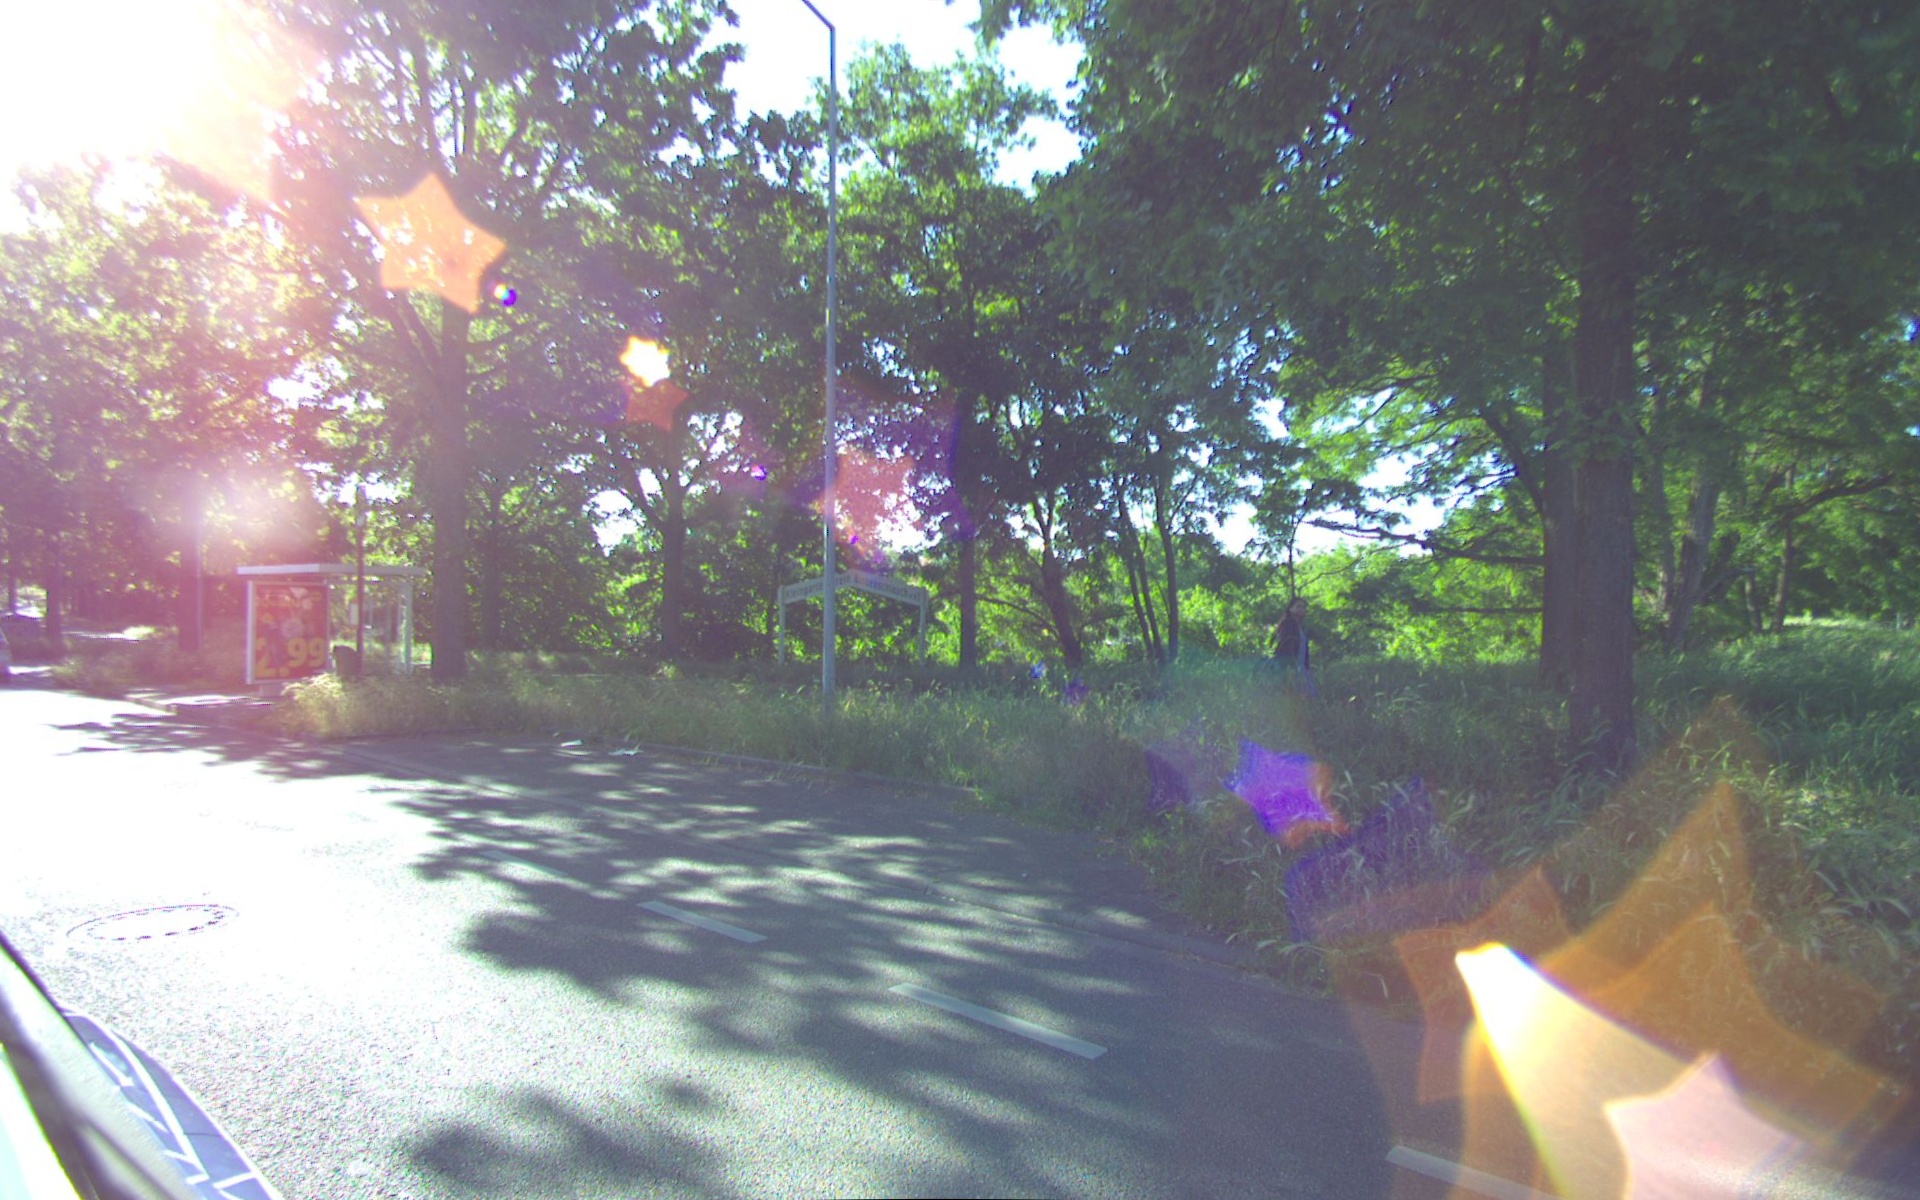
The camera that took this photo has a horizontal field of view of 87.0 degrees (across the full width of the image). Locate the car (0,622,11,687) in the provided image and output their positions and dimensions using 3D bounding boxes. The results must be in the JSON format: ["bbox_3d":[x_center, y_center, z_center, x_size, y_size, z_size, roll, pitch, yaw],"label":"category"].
[{"bbox_3d":[-25.382,1.357,25.418,4.117,1.575,1.734,-3,-4,40],"label":"car"}]

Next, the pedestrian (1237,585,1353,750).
[{"bbox_3d":[3.675,0.701,11.106,0.891,1.701,0.903,-2,-1,42],"label":"pedestrian"}]
